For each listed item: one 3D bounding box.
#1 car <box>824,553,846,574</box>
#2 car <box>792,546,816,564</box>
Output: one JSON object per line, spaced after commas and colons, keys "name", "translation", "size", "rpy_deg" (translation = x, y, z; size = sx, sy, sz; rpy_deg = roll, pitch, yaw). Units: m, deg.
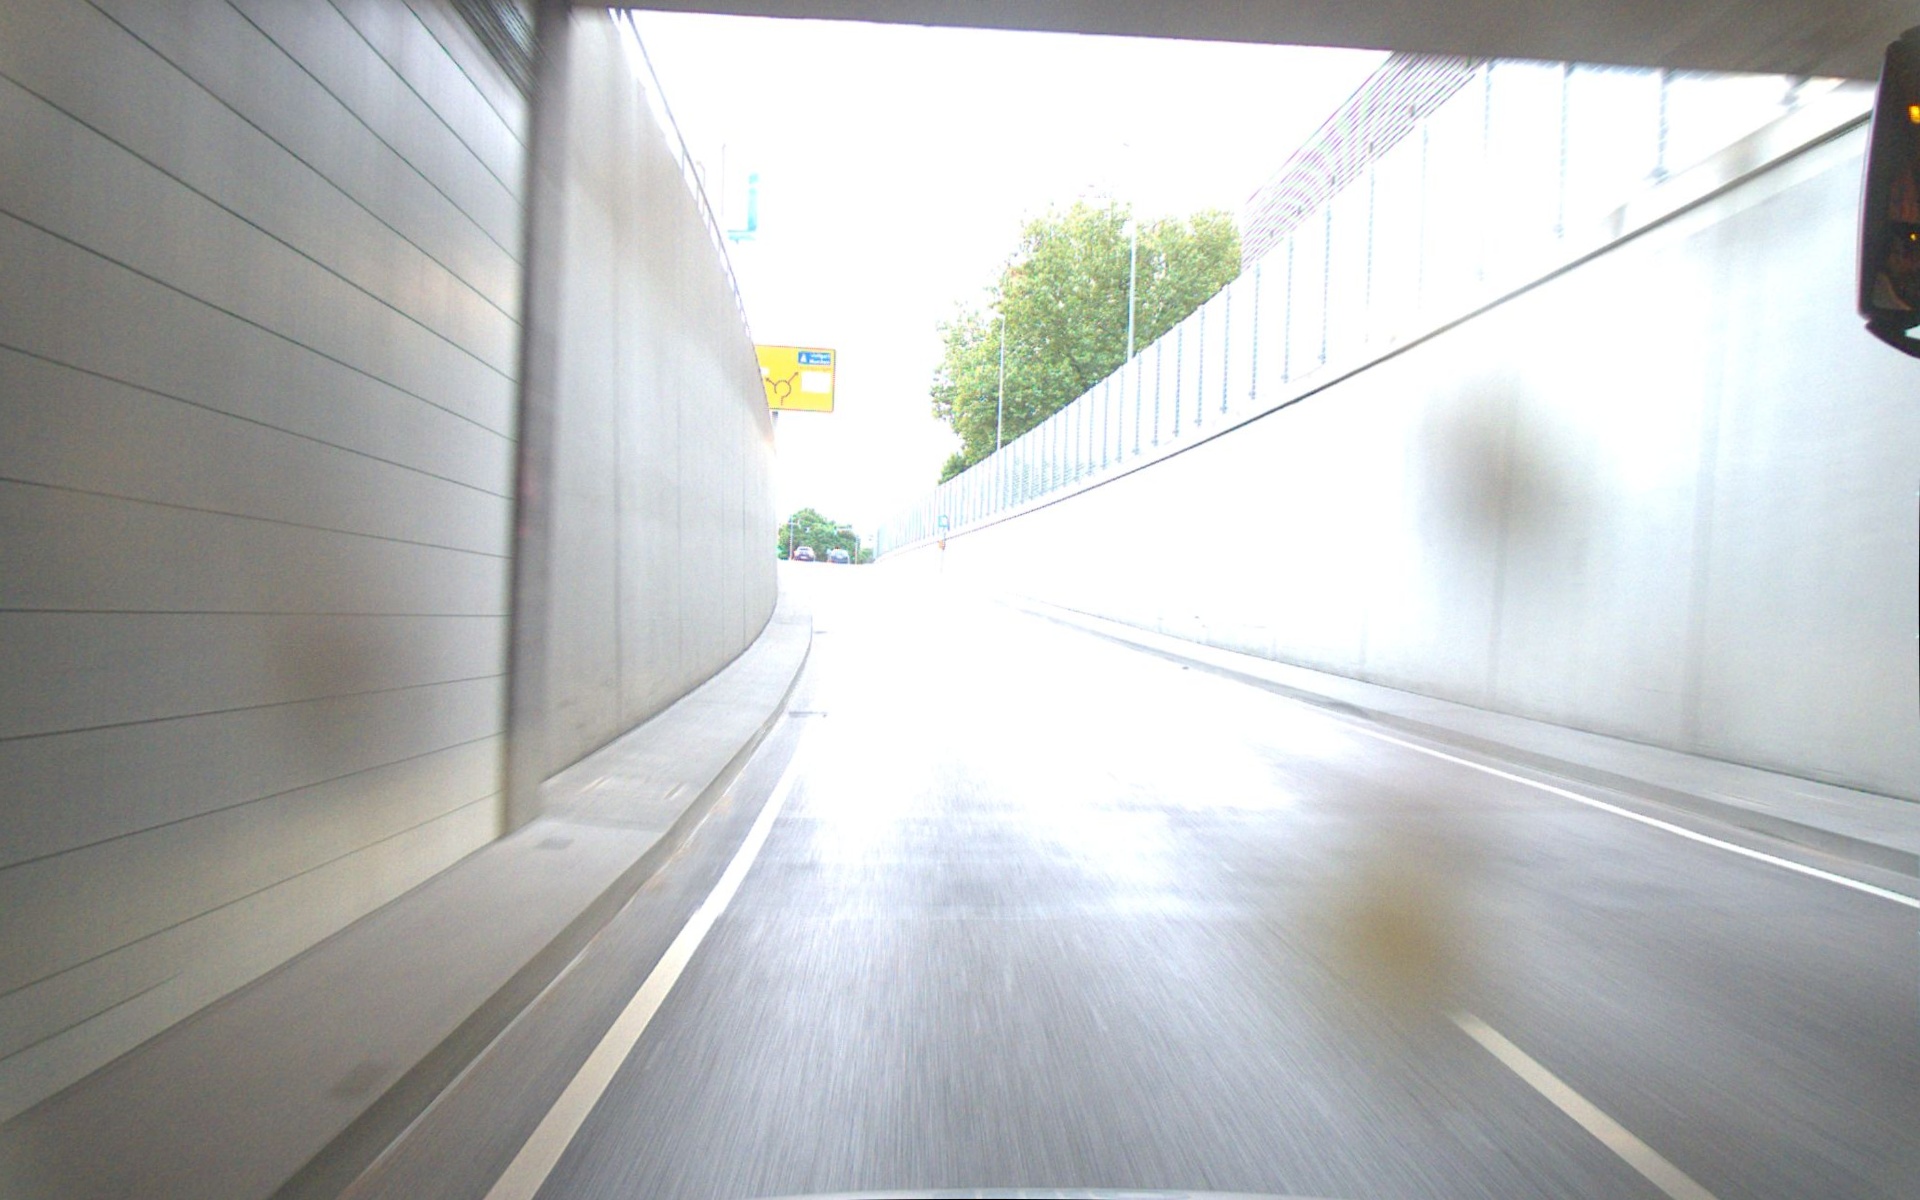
{"name": "car", "translation": [-11.588, -3.375, 152.978], "size": [1.834, 1.763, 3.993], "rpy_deg": [2, 0, -7]}
{"name": "car", "translation": [-14.099, -4.056, 149.513], "size": [1.807, 1.413, 3.991], "rpy_deg": [2, 0, -10]}
